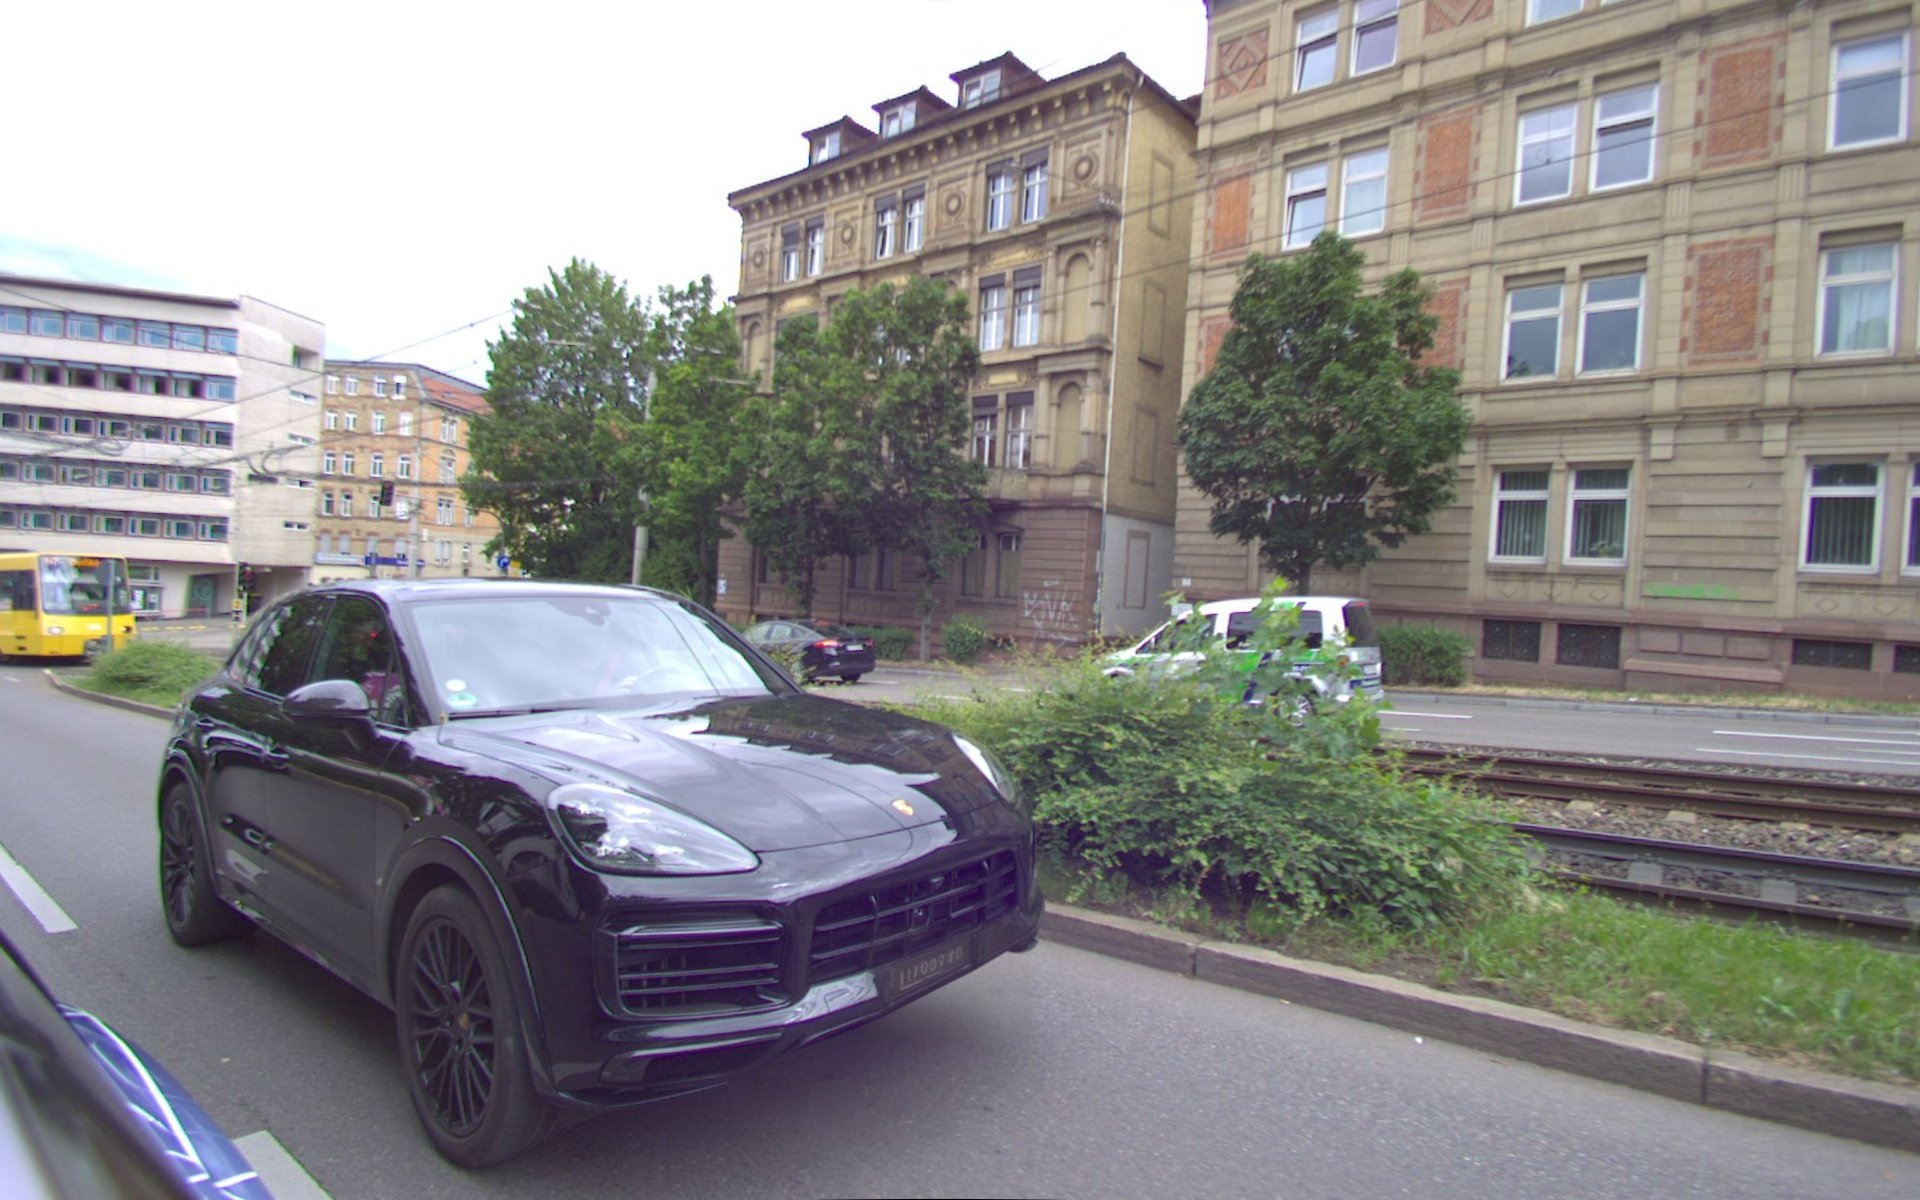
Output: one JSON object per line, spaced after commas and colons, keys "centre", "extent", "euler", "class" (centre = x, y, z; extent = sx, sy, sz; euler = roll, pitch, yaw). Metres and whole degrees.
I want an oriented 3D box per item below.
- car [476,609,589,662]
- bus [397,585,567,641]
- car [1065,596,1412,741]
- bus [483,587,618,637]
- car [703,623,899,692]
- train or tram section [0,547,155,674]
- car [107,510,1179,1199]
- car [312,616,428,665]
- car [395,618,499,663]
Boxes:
{"centre": [-16.001, 1.282, 37.760], "extent": [4.992, 1.864, 1.972], "euler": [-1, -2, 42], "class": "car"}
{"centre": [-28.377, 0.727, 61.025], "extent": [3.352, 3.052, 11.514], "euler": [0, 0, 9], "class": "bus"}
{"centre": [3.929, 0.921, 14.727], "extent": [4.513, 1.801, 1.860], "euler": [-1, -4, 40], "class": "car"}
{"centre": [-27.300, 0.751, 68.344], "extent": [3.285, 3.066, 11.334], "euler": [0, 0, 8], "class": "bus"}
{"centre": [-3.834, 1.312, 23.815], "extent": [4.943, 1.461, 1.800], "euler": [-2, -2, 41], "class": "car"}
{"centre": [-32.511, 0.252, 33.583], "extent": [14.388, 3.691, 2.868], "euler": [0, 1, 24], "class": "train or tram section"}
{"centre": [-1.721, 0.666, 4.239], "extent": [4.777, 1.697, 2.007], "euler": [1, 0, 40], "class": "car"}
{"centre": [-20.012, 1.342, 34.268], "extent": [4.401, 1.530, 1.974], "euler": [-2, -1, 39], "class": "car"}
{"centre": [-18.279, 1.402, 35.993], "extent": [4.402, 1.438, 1.725], "euler": [0, 0, 40], "class": "car"}
